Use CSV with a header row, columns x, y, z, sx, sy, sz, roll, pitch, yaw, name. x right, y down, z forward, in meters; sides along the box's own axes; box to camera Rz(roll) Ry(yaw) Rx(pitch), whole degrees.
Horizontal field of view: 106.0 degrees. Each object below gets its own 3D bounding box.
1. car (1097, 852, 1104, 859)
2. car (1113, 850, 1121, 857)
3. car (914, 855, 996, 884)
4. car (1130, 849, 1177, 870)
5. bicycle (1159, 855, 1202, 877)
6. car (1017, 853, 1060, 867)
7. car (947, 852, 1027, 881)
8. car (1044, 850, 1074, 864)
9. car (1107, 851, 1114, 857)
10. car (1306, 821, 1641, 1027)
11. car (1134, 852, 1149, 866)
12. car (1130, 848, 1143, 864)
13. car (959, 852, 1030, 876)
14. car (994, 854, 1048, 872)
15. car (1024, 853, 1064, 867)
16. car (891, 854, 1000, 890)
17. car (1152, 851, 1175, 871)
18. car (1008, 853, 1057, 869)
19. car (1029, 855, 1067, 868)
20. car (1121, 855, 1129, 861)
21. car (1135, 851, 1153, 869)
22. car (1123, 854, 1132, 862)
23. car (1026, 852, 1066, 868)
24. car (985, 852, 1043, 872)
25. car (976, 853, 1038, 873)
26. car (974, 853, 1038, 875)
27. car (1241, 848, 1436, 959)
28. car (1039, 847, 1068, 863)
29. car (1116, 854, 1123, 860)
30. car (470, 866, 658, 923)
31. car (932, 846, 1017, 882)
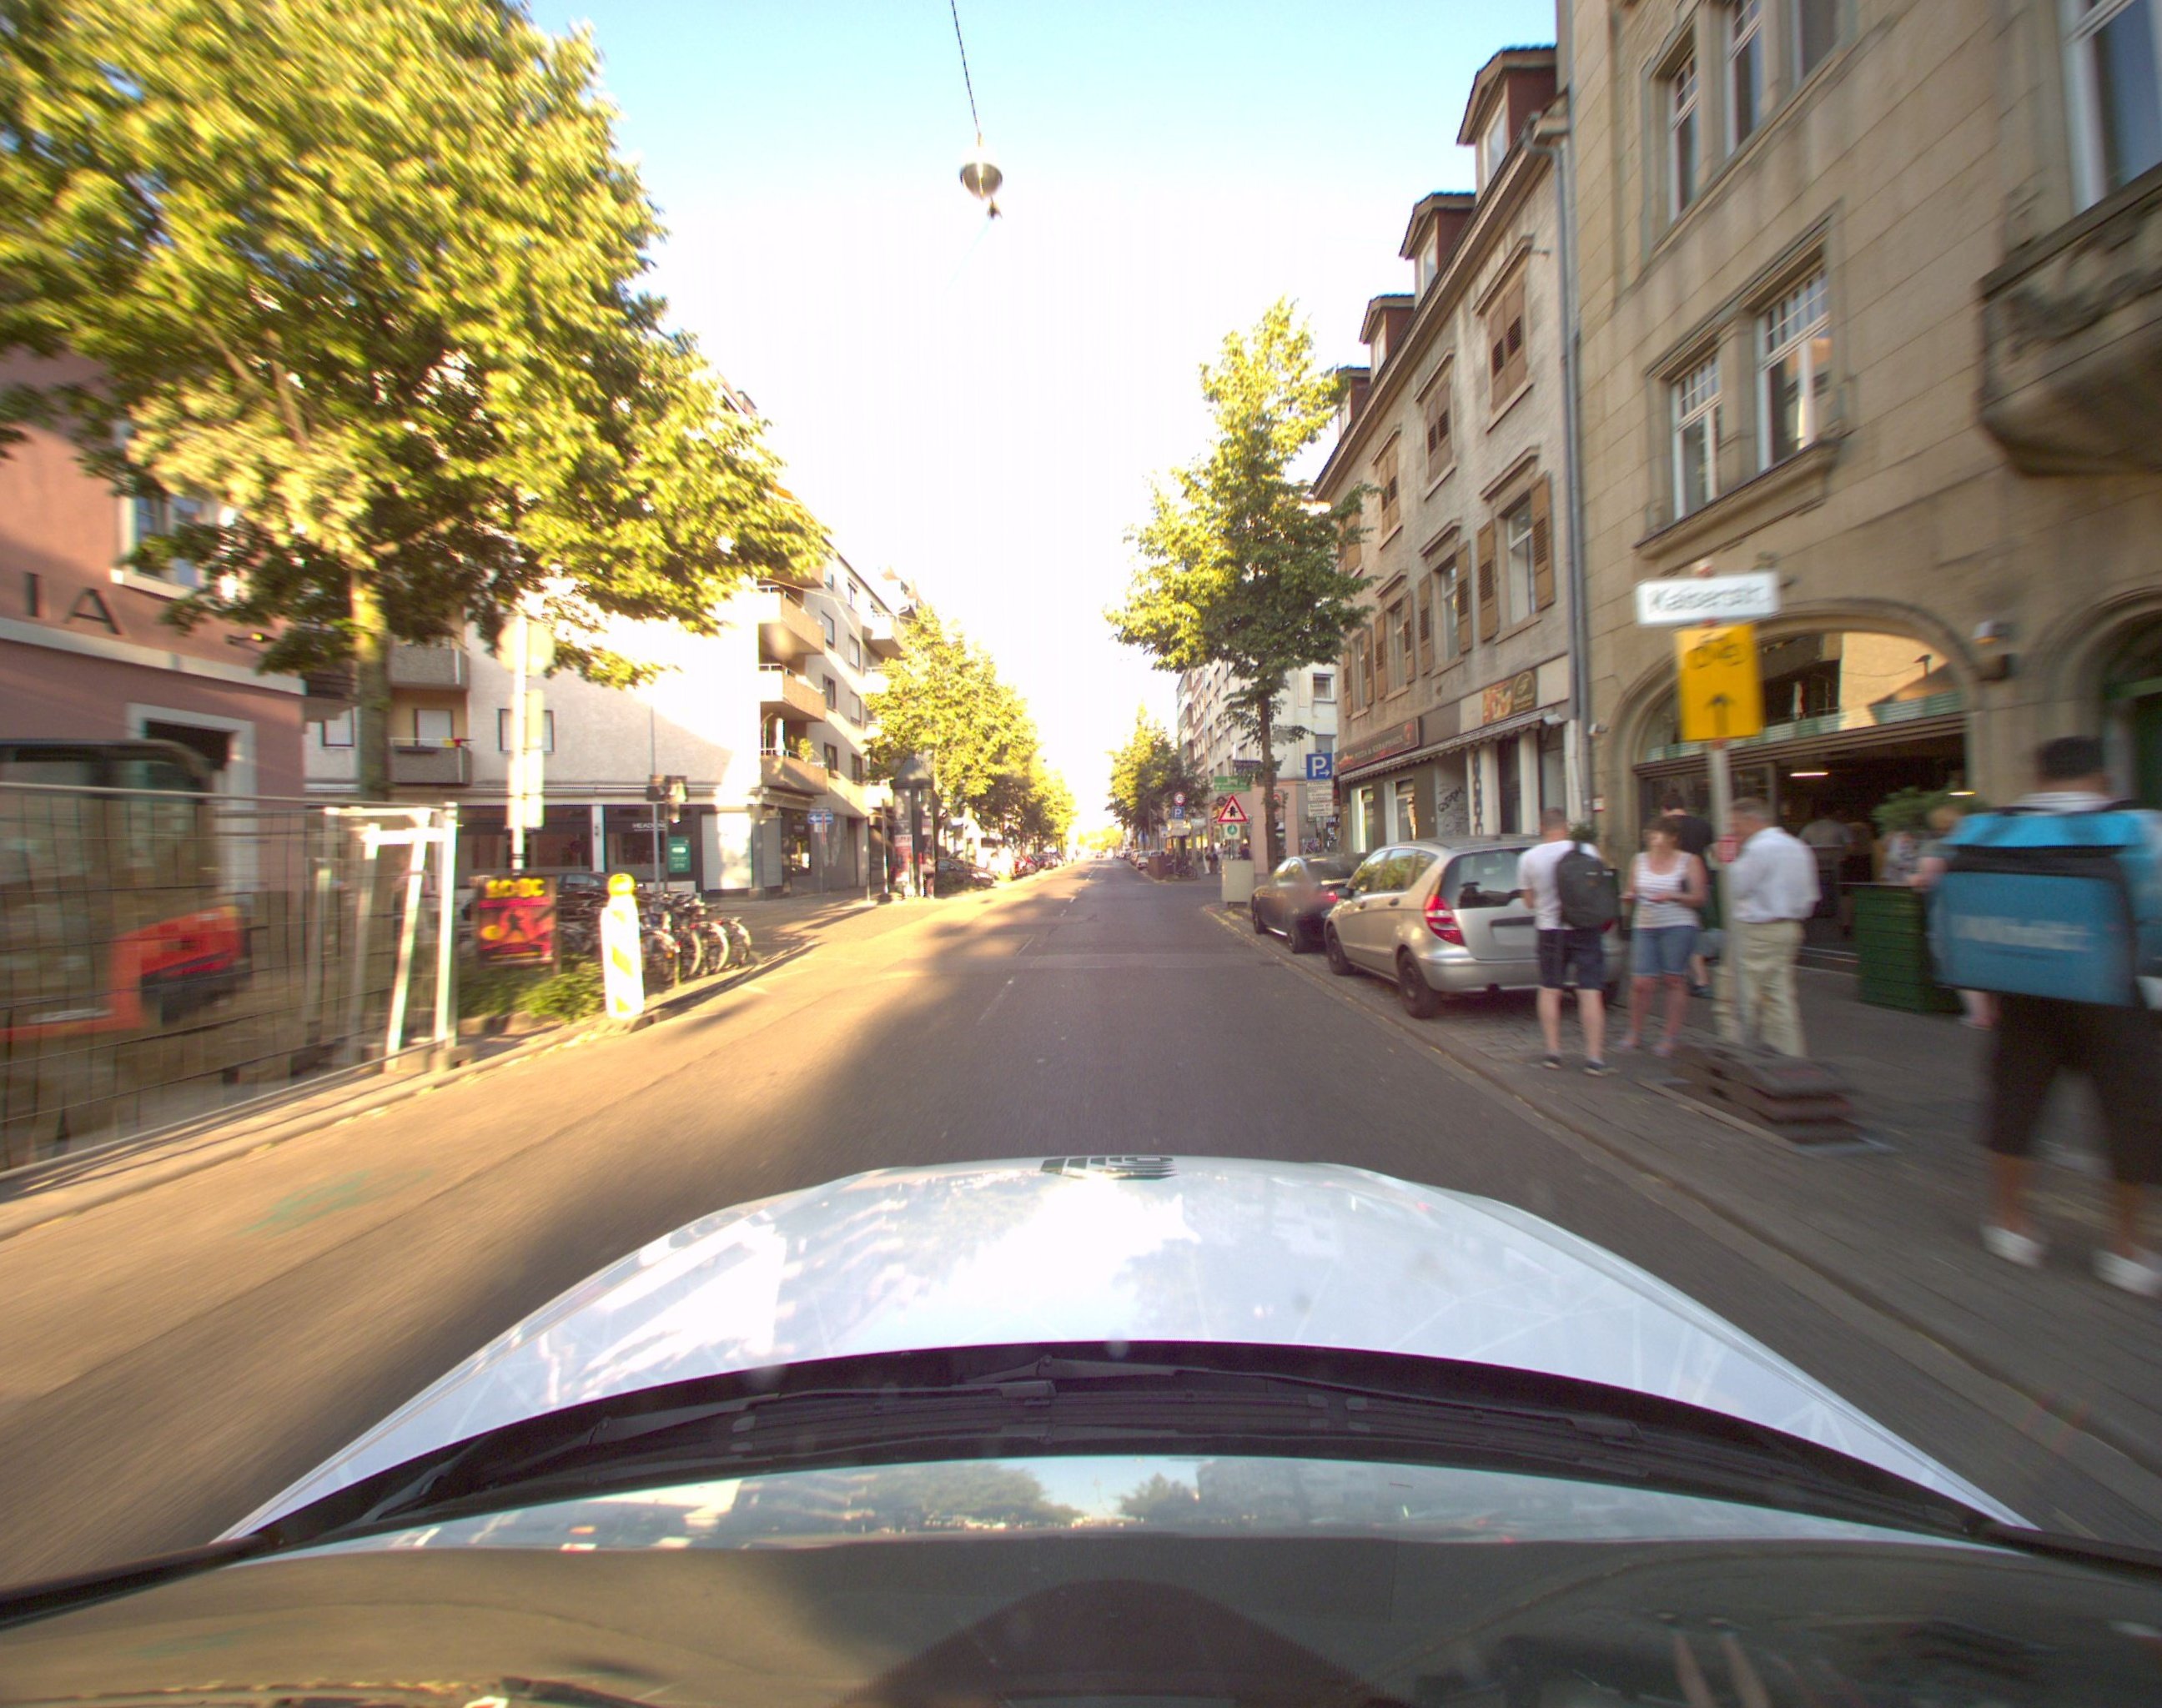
x,y,z,sx,sy,sz,roll,pitch,yaw,name
4.887,0.354,205.082,1.745,1.540,3.306,-2,0,3,car
8.751,-0.050,196.998,1.745,1.540,3.306,-2,0,3,car
-6.442,0.800,41.827,3.773,1.391,2.046,-1,-1,4,car
5.790,0.407,64.911,1.654,1.588,3.846,-1,0,44,car
4.922,0.588,40.359,1.935,1.074,0.710,-1,0,33,bicycle
-4.589,0.654,88.544,4.425,1.523,1.920,-1,0,2,car
-5.684,0.746,49.573,4.553,1.698,2.061,-1,0,2,car
-3.262,0.406,122.452,4.425,1.959,1.920,-1,0,2,car
7.451,0.053,204.162,1.714,1.475,3.306,-2,0,3,car
3.774,0.564,8.697,1.680,1.575,4.015,-4,0,2,car
6.322,0.513,85.219,1.507,1.406,3.840,-1,0,3,car
6.608,0.262,96.936,1.507,1.864,4.238,-1,0,3,car
-5.764,0.675,54.599,4.425,1.506,1.846,-1,0,2,car
-5.216,0.772,71.151,4.425,1.568,1.920,-1,0,2,car
-4.190,0.696,92.912,4.287,1.598,1.920,-1,0,2,car
-5.992,0.794,36.460,4.531,1.541,1.811,-1,0,0,car
6.099,0.529,60.487,1.536,1.433,3.682,-1,0,4,car
-4.628,0.641,77.664,4.425,1.448,1.920,-1,0,2,car
-3.943,0.876,98.156,4.425,1.499,1.920,-1,0,2,car
8.842,0.797,162.892,1.507,1.263,3.306,-1,0,3,car
5.636,0.505,73.146,1.507,1.578,3.221,-1,0,3,car
8.275,0.695,144.529,1.507,1.276,3.306,-1,0,3,car
-4.036,0.674,95.037,4.425,1.759,1.920,-1,0,2,car
-5.448,0.633,66.440,4.425,1.568,1.920,-1,0,2,car
-5.559,0.682,61.452,4.425,1.458,1.860,-1,0,2,car
-5.422,0.720,59.141,4.425,1.484,1.810,-1,0,2,car
3.914,0.657,13.242,1.778,1.375,4.525,-4,0,2,car
-4.489,0.135,132.526,4.425,2.435,1.920,-1,0,2,car
8.809,0.690,185.598,1.507,1.298,3.306,-1,0,3,car
-14.656,1.107,23.407,4.211,1.380,1.986,-1,0,-22,car
-6.045,0.565,46.765,4.555,1.962,1.991,-1,0,1,car
